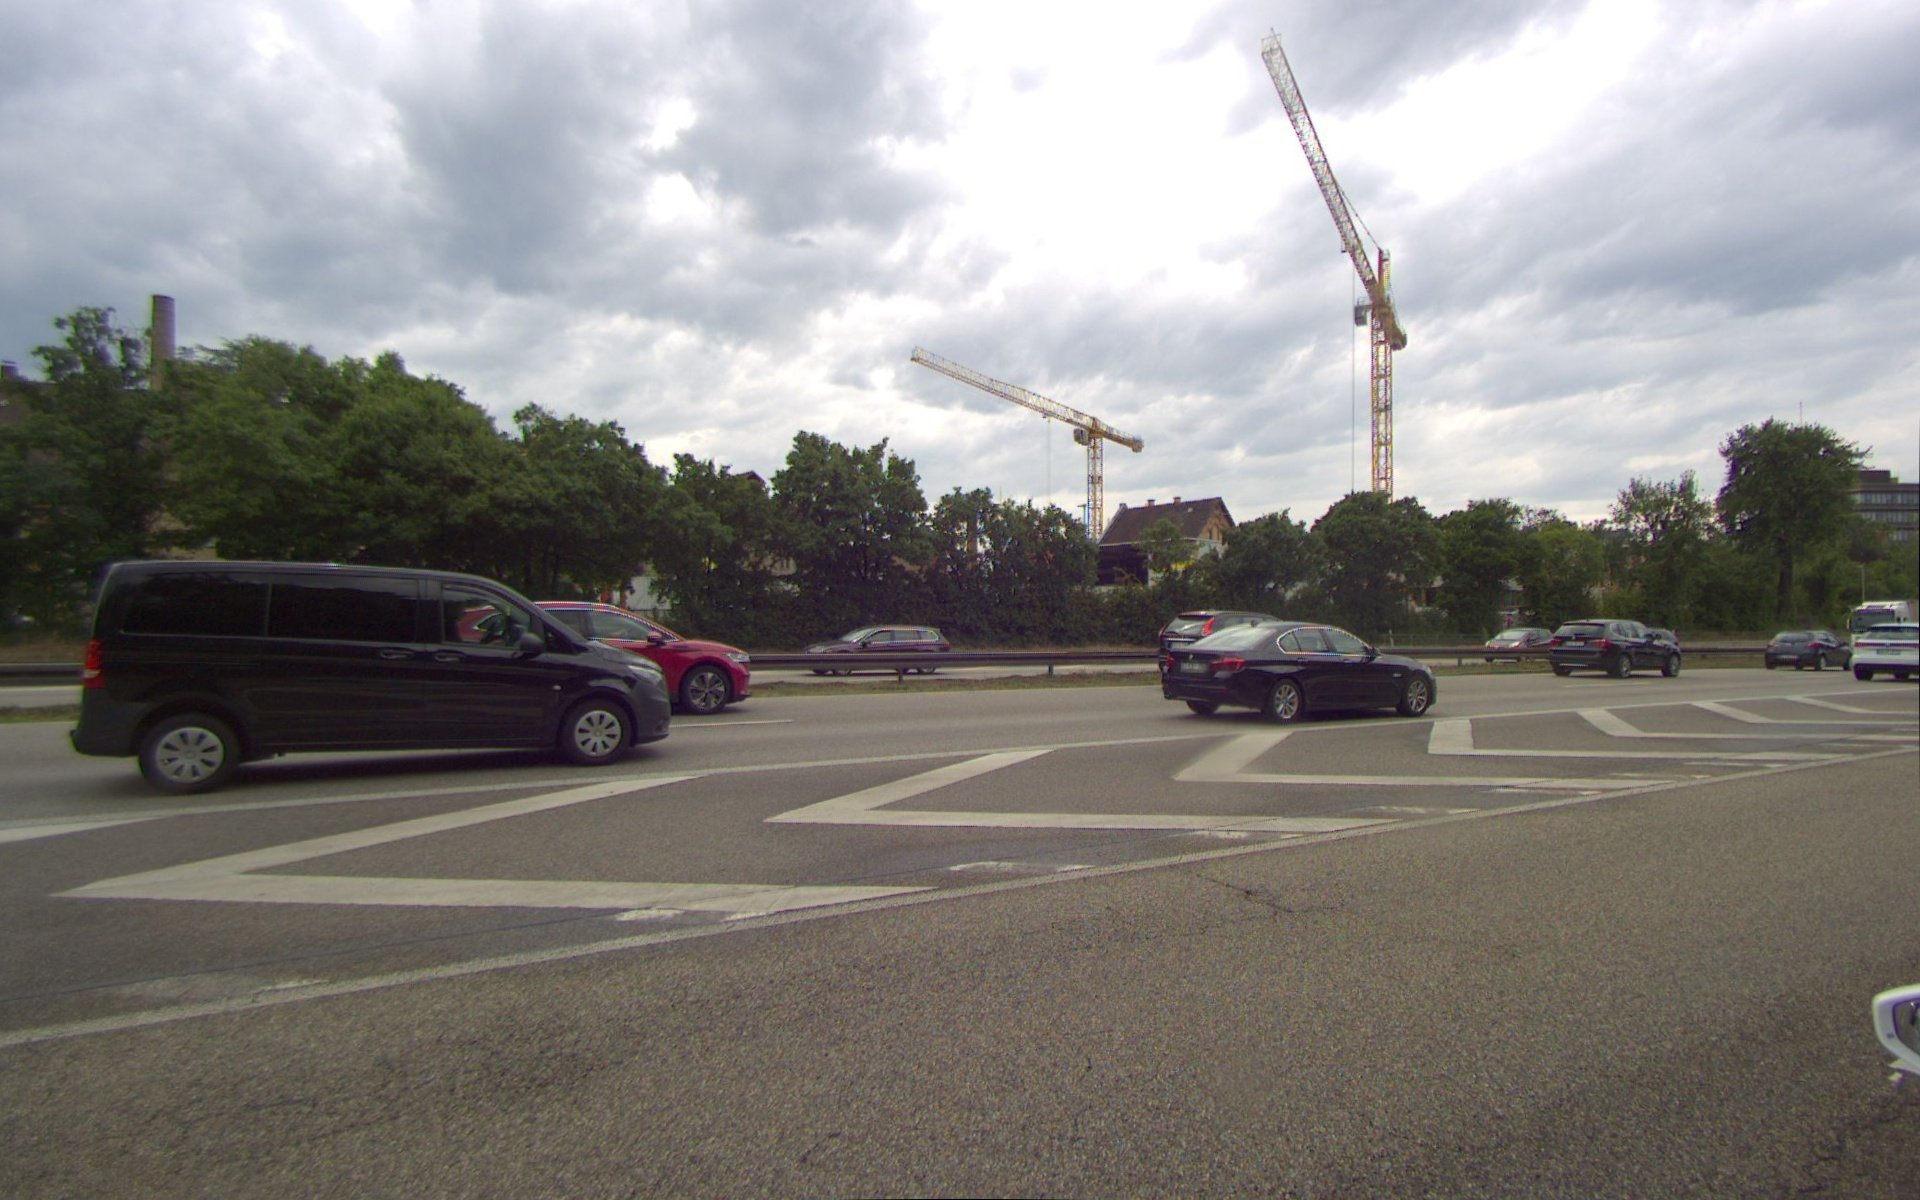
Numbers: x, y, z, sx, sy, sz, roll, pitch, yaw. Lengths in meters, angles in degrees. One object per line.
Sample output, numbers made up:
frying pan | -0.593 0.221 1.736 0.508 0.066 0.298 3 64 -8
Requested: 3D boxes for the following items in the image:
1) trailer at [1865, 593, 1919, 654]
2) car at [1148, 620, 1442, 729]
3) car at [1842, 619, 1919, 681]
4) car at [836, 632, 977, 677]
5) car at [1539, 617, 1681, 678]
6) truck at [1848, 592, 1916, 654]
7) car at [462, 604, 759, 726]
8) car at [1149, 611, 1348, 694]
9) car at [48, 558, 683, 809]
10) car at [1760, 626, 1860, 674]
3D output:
trailer | 69.220 1.724 72.349 12.929 4.082 2.385 1 -1 -31
car | 5.279 1.075 15.656 4.610 1.476 1.705 1 -1 -29
car | 28.079 1.446 29.552 4.454 1.714 1.937 1 -1 -31
car | -1.615 1.631 30.553 3.952 1.270 1.719 1 -2 -29
car | 19.196 1.364 29.623 4.257 1.703 1.881 1 -2 -32
truck | 62.867 1.596 68.463 3.954 4.073 2.394 1 -1 -31
car | -5.114 0.900 14.791 3.896 1.588 1.759 1 -2 -29
car | 6.290 1.088 21.825 4.216 1.657 1.743 1 -1 -30
car | -5.303 0.677 9.634 4.758 1.875 1.983 1 -1 -32
car | 31.660 1.823 37.386 3.962 1.629 1.679 1 0 -32
